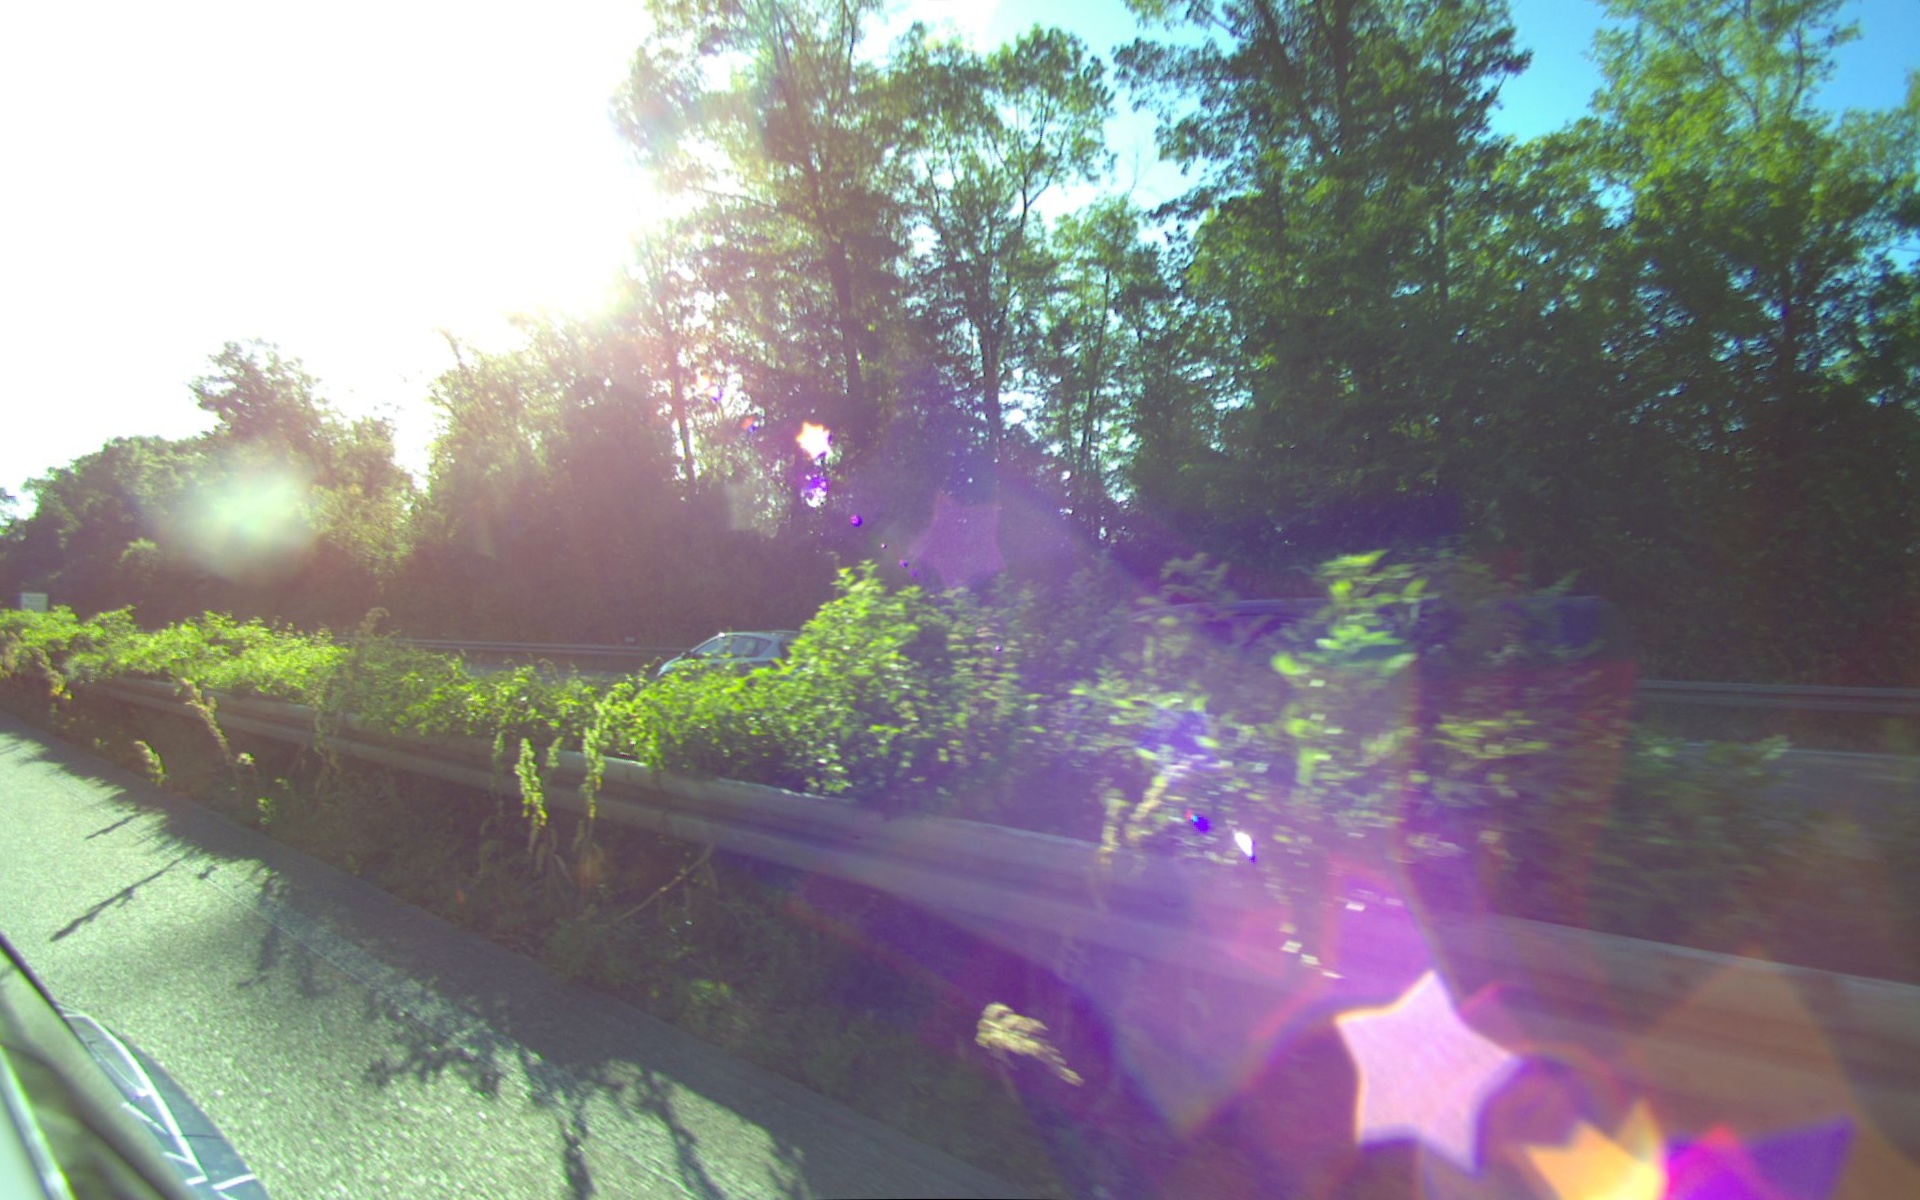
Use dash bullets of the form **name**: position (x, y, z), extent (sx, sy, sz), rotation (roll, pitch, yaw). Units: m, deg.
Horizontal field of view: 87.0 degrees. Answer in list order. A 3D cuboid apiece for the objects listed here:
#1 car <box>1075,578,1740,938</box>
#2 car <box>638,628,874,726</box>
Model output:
- **car**: position (2.974, 0.829, 7.246), extent (4.000, 1.862, 1.760), rotation (-1, 0, 43)
- **car**: position (-3.704, 1.257, 17.933), extent (4.434, 1.453, 1.781), rotation (-1, 0, 41)
